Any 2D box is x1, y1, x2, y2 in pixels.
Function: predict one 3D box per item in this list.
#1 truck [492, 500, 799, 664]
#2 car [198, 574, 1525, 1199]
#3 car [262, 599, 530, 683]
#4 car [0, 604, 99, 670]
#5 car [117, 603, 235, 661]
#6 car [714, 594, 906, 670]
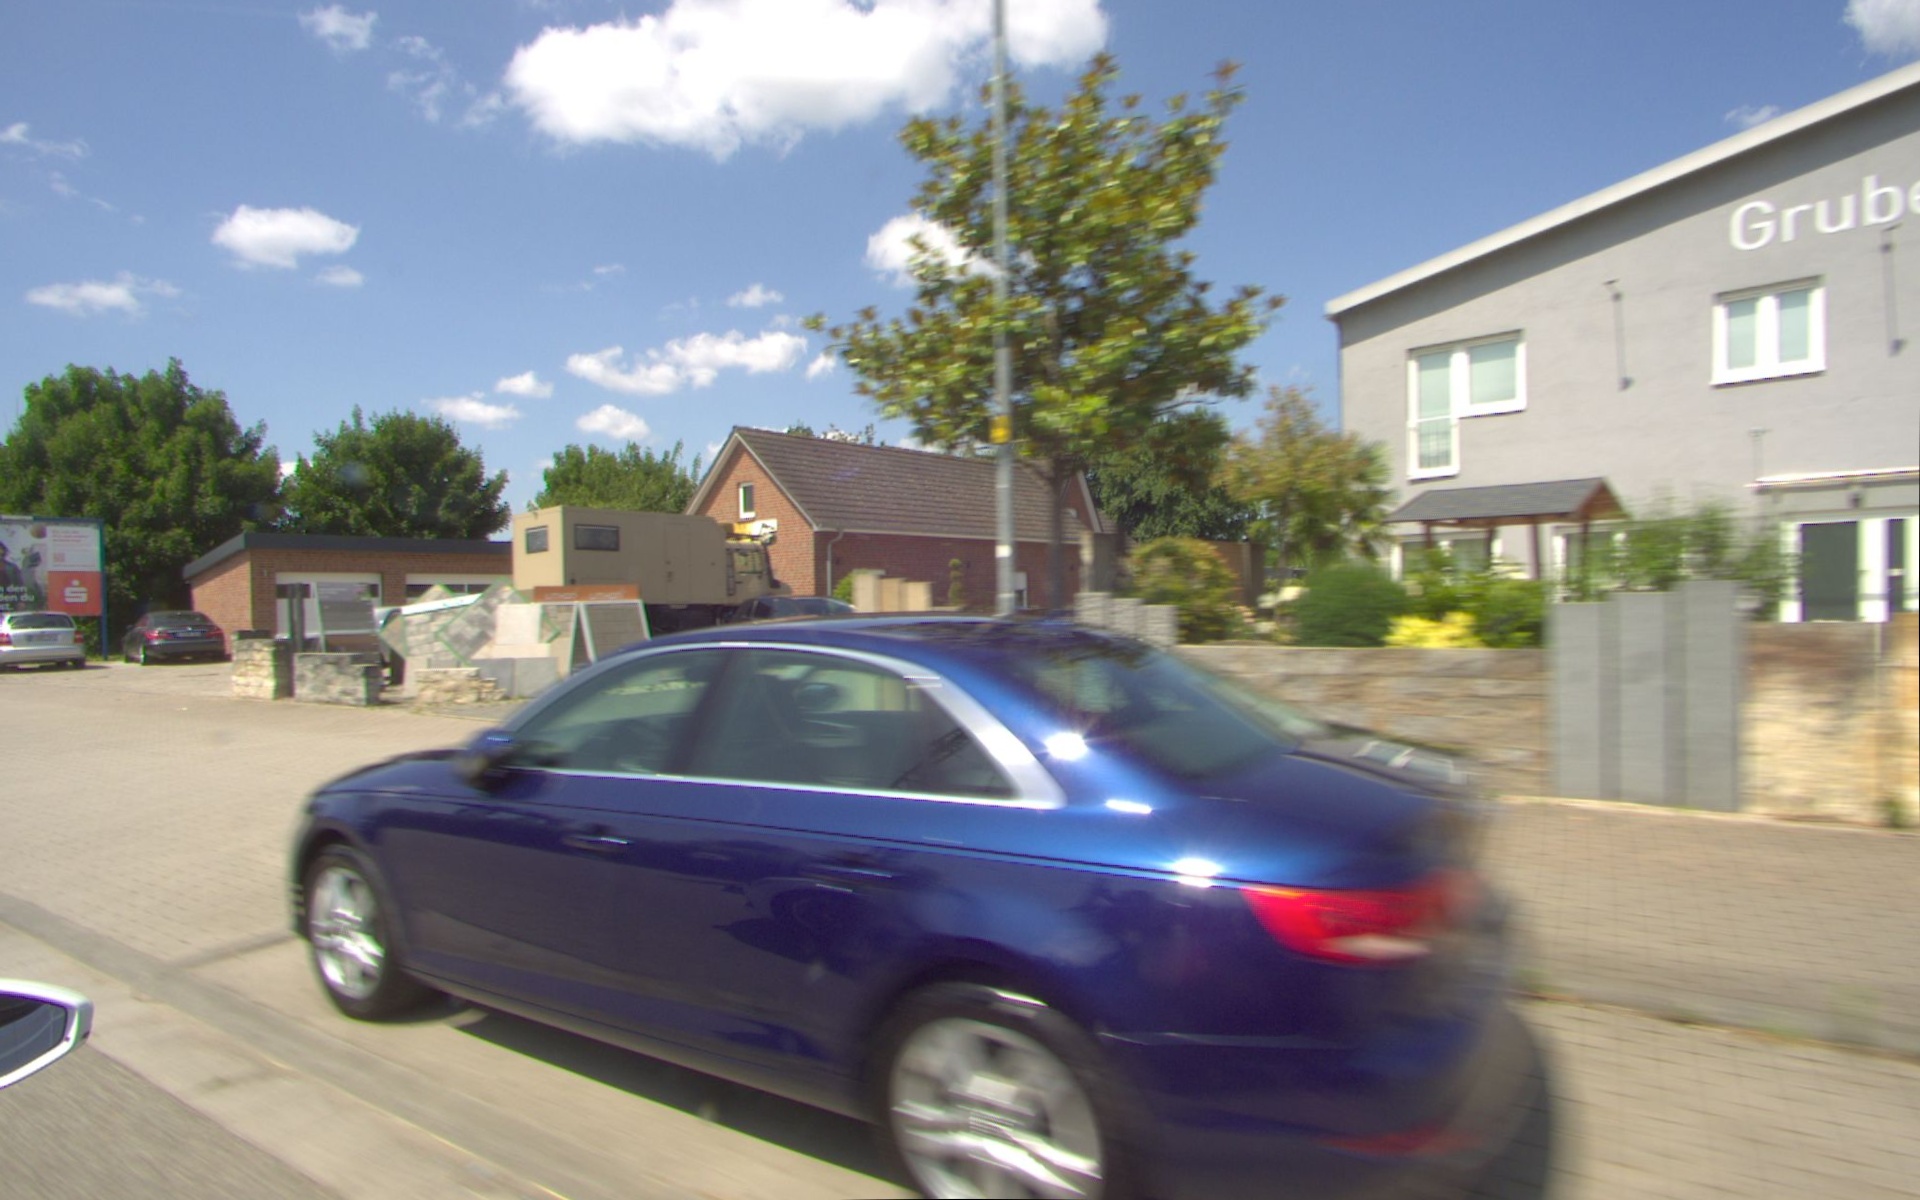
[{"bbox_3d":[-7.417,-0.400,24.323,3.070,3.433,6.429,0,1,41],"label":"truck"},{"bbox_3d":[-0.674,0.720,3.605,4.651,1.492,1.757,-1,1,33],"label":"car"},{"bbox_3d":[-11.123,0.728,19.975,1.954,1.439,4.245,-1,0,41],"label":"car"},{"bbox_3d":[-23.646,0.902,25.537,3.953,1.500,1.896,-1,2,40],"label":"car"},{"bbox_3d":[-21.502,0.845,27.403,3.953,1.395,1.737,-1,2,40],"label":"car"},{"bbox_3d":[-3.081,0.598,20.069,3.960,1.341,1.771,-1,1,44],"label":"car"}]
